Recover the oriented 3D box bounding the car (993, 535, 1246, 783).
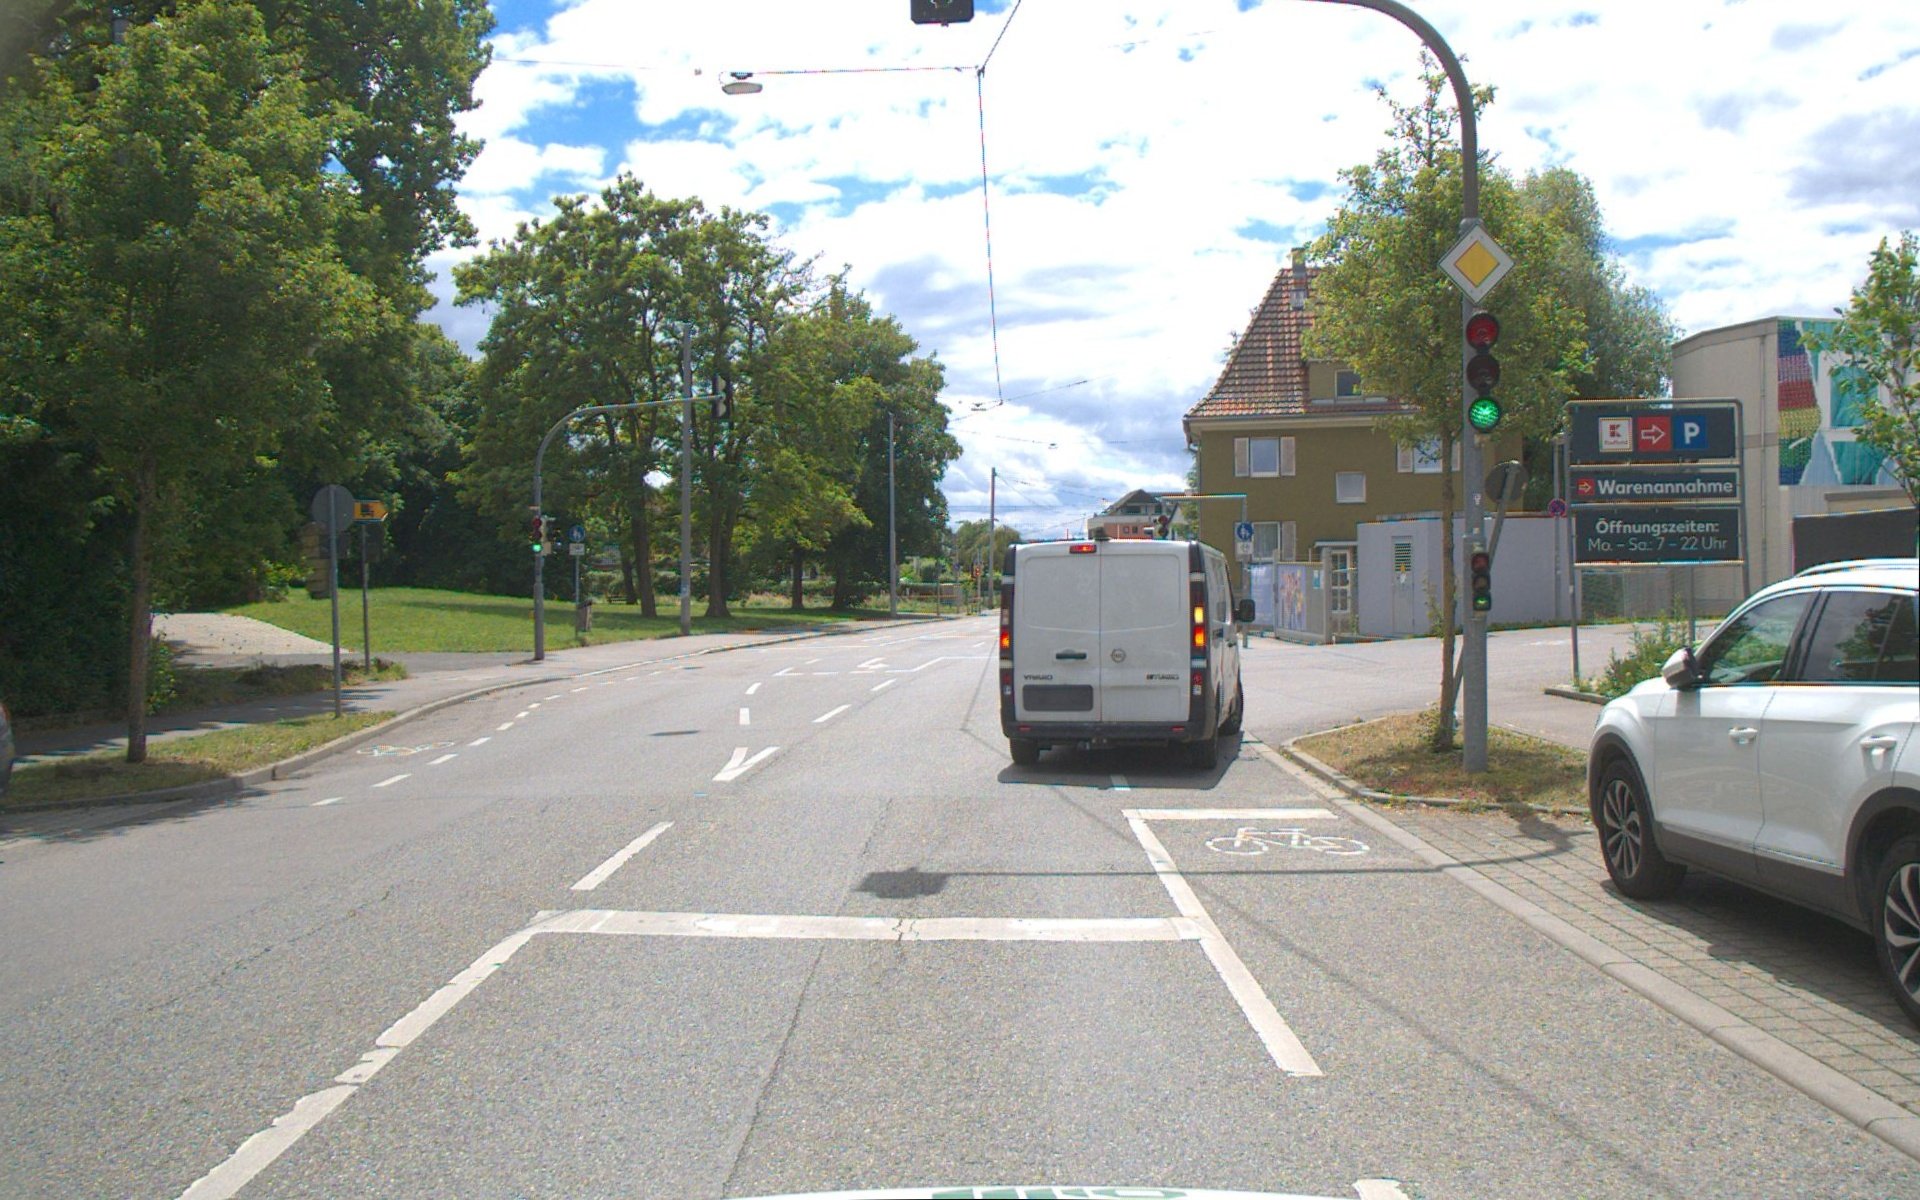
[{"bbox_3d":[1.699,0.438,15.910,1.897,1.995,4.837,1,1,12],"label":"car"}]

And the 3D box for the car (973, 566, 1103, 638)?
[{"bbox_3d":[1.821,0.041,39.751,1.581,1.634,3.972,1,0,-23],"label":"car"}]

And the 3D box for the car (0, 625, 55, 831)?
[{"bbox_3d":[-7.324,0.873,9.579,1.660,1.389,4.685,0,0,-1],"label":"car"}]

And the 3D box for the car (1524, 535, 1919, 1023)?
[{"bbox_3d":[4.029,0.551,6.931,1.702,1.644,4.386,-4,0,-1],"label":"car"}]
